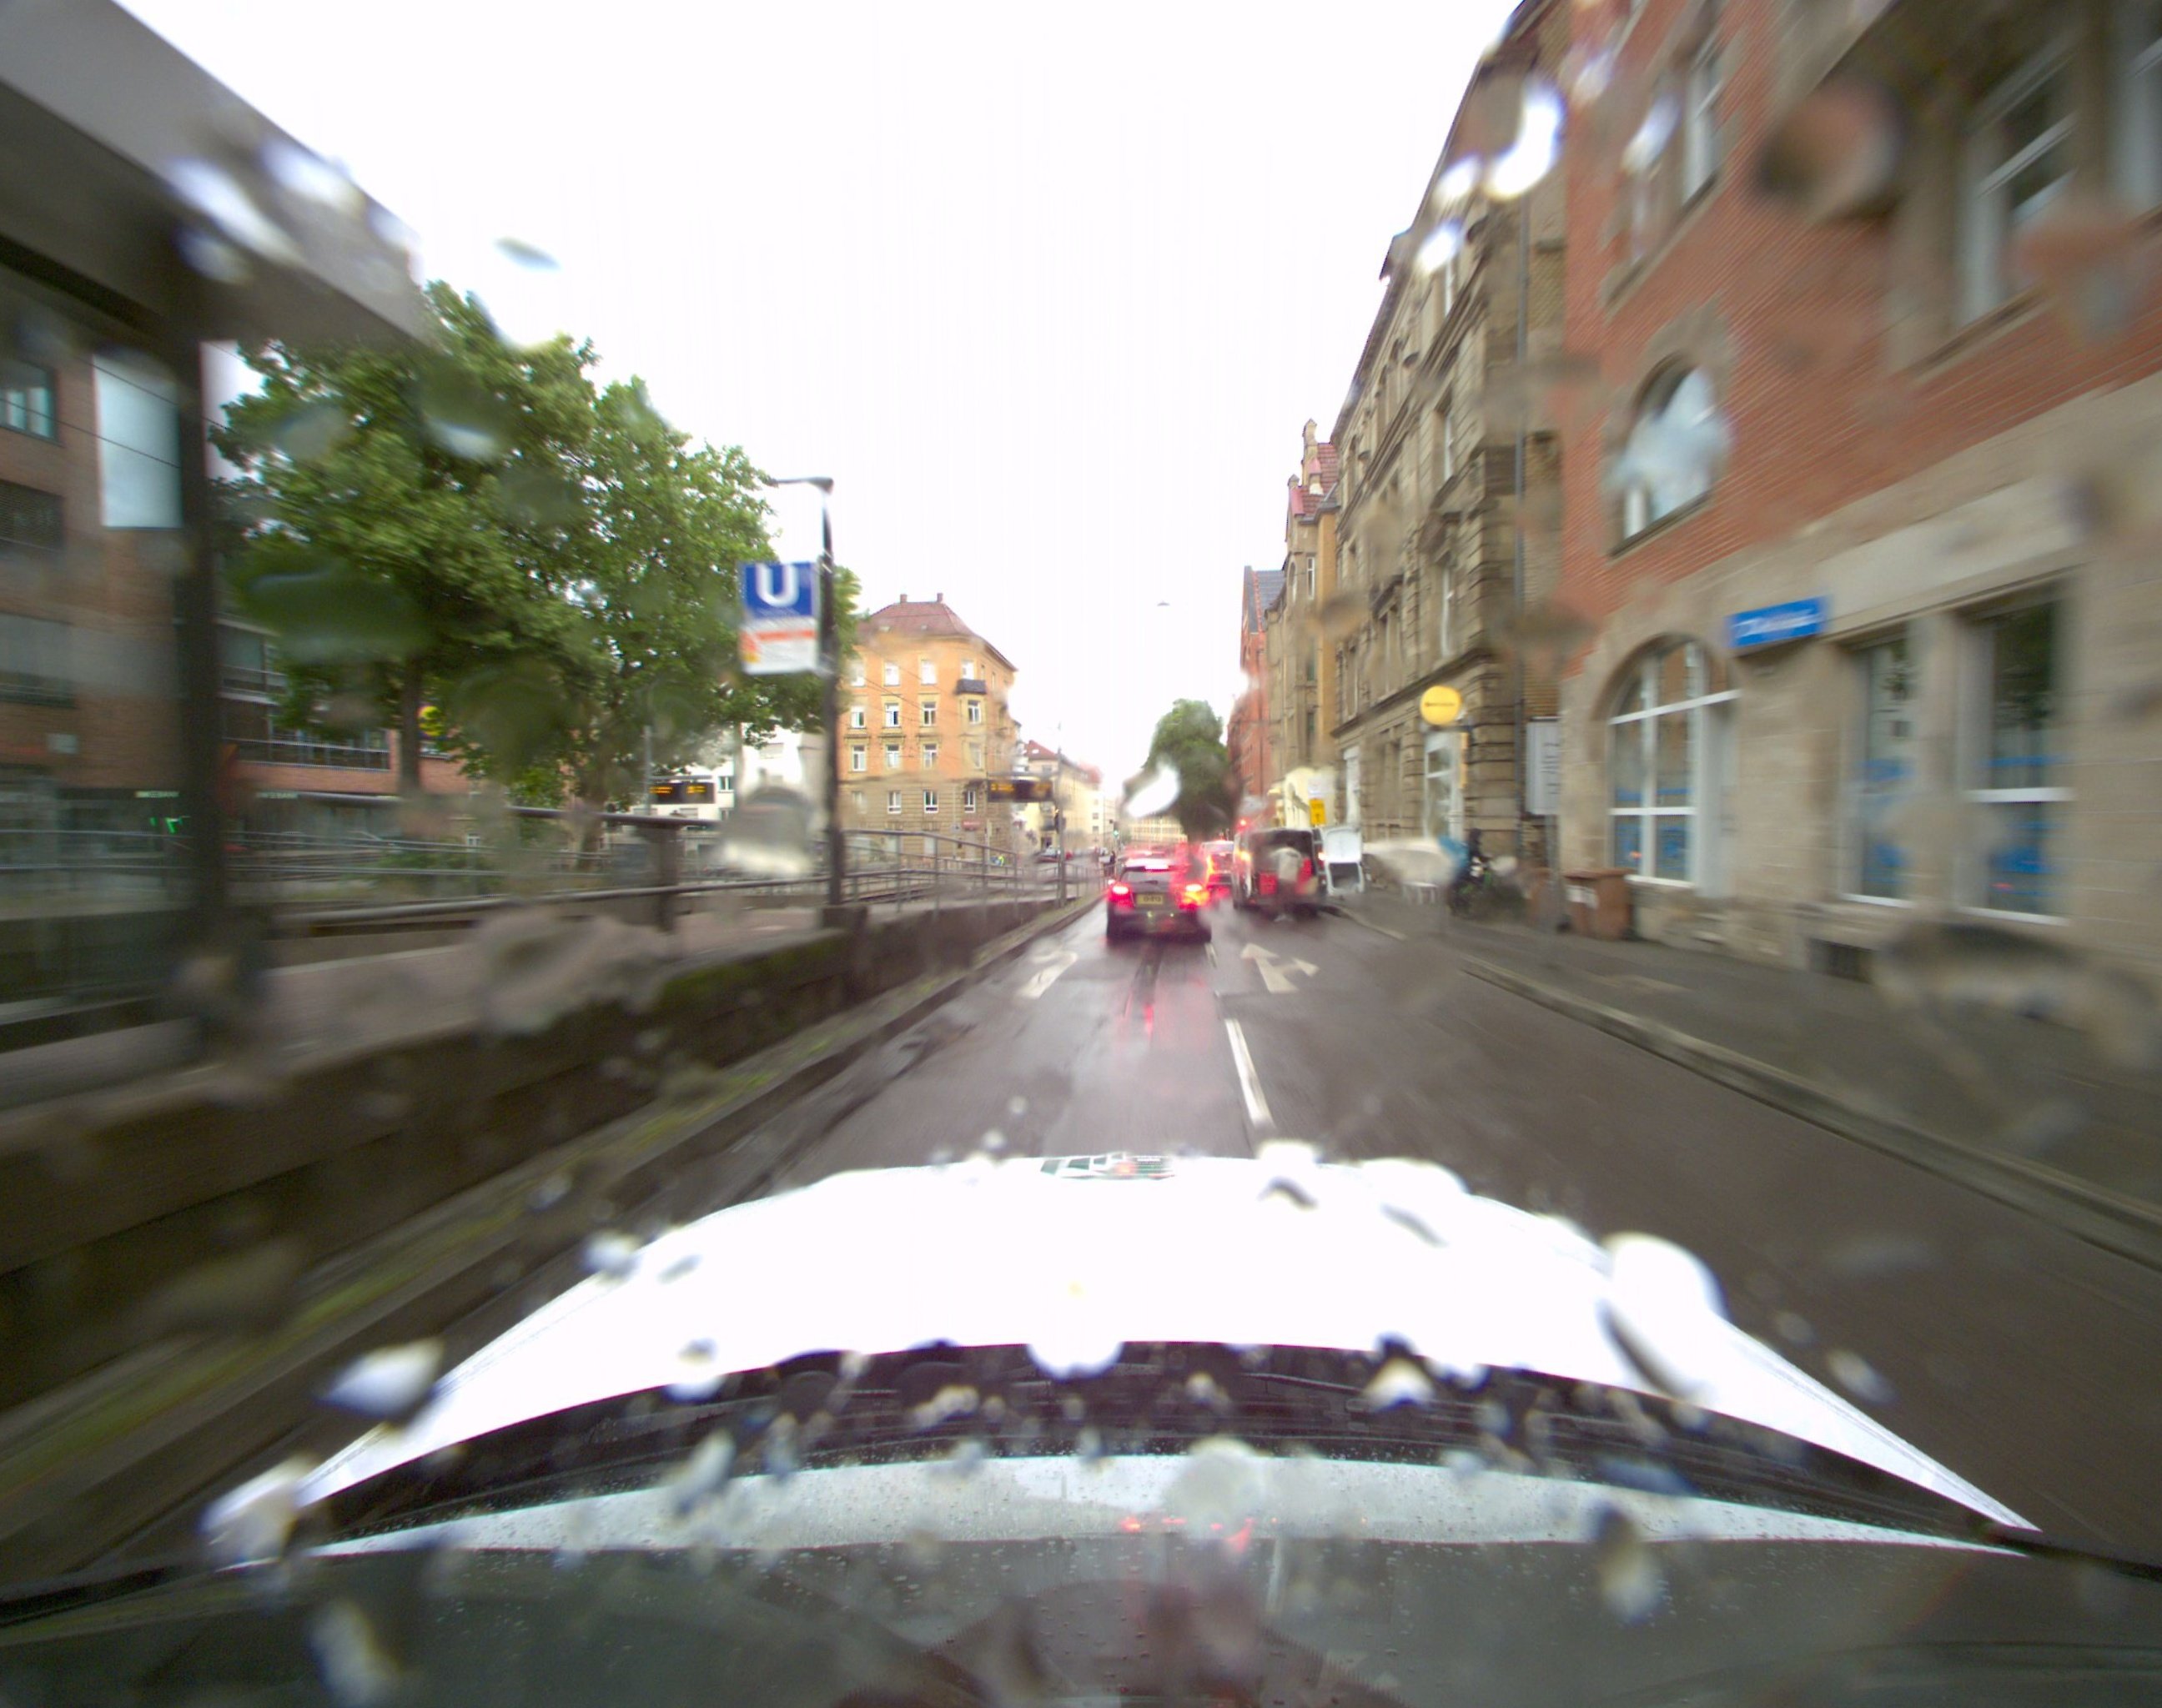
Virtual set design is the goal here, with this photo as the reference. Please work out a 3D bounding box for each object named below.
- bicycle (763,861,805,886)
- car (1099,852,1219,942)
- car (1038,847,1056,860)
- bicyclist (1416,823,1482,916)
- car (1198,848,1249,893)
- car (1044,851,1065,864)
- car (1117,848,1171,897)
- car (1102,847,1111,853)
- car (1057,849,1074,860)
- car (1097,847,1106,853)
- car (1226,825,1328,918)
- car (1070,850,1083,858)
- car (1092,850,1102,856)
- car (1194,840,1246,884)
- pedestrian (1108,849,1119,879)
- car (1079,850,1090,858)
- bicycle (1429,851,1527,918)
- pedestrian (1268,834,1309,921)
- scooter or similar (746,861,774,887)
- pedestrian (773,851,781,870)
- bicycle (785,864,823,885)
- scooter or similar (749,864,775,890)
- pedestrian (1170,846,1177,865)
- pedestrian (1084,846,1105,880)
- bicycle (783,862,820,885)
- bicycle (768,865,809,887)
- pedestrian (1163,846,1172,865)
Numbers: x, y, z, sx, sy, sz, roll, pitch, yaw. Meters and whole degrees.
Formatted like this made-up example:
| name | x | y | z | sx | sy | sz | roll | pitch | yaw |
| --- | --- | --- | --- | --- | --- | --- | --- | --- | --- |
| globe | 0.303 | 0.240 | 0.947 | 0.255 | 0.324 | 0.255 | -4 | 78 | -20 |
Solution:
| name | x | y | z | sx | sy | sz | roll | pitch | yaw |
| --- | --- | --- | --- | --- | --- | --- | --- | --- | --- |
| bicycle | -14.933 | 0.975 | 40.932 | 1.867 | 1.195 | 0.517 | -1 | 0 | -4 |
| car | 1.527 | 0.697 | 15.075 | 1.884 | 1.390 | 4.009 | -1 | 0 | 8 |
| car | -3.796 | -0.069 | 91.468 | 1.444 | 1.318 | 3.301 | 0 | 1 | 6 |
| bicyclist | 6.824 | 0.283 | 15.124 | 0.849 | 1.657 | 0.628 | -2 | 0 | -16 |
| car | 5.270 | 0.550 | 29.789 | 1.702 | 1.469 | 4.295 | -1 | 0 | 11 |
| car | -3.173 | 0.414 | 98.073 | 1.776 | 1.530 | 4.472 | -1 | 0 | 7 |
| car | 2.183 | 0.570 | 27.767 | 1.672 | 1.489 | 3.618 | -2 | 0 | 5 |
| car | 5.326 | -0.760 | 169.748 | 1.387 | 1.171 | 3.168 | -1 | 0 | 7 |
| car | -1.977 | -0.004 | 104.761 | 1.671 | 1.356 | 3.711 | -1 | 0 | 7 |
| car | 3.953 | -0.758 | 157.234 | 1.387 | 1.171 | 3.168 | -1 | 0 | 7 |
| car | 4.554 | 0.354 | 19.522 | 1.910 | 1.936 | 4.696 | -1 | 0 | 8 |
| car | -0.618 | 0.012 | 117.166 | 1.429 | 1.106 | 3.168 | -1 | 0 | 7 |
| car | 2.912 | -0.194 | 147.943 | 1.387 | 1.171 | 3.168 | -1 | 0 | 7 |
| car | 6.219 | 0.309 | 36.933 | 1.924 | 1.831 | 4.286 | -1 | 1 | 4 |
| pedestrian | 1.672 | 0.527 | 41.775 | 0.530 | 1.530 | 0.436 | -1 | 0 | -1 |
| car | 0.545 | -0.044 | 130.291 | 1.387 | 1.171 | 3.168 | -1 | 0 | 7 |
| bicycle | 7.210 | 0.542 | 14.793 | 1.687 | 1.115 | 0.462 | -2 | 0 | -17 |
| pedestrian | 4.334 | 0.486 | 17.056 | 0.681 | 1.753 | 0.838 | -2 | 0 | 8 |
| scooter or similar | -15.535 | 0.959 | 39.428 | 1.259 | 1.195 | 0.296 | -1 | 0 | -44 |
| pedestrian | -26.110 | 0.520 | 70.015 | 0.520 | 1.622 | 0.481 | -1 | 0 | -33 |
| bicycle | -15.221 | 1.121 | 44.759 | 1.867 | 1.065 | 0.517 | -1 | 0 | -4 |
| scooter or similar | -15.248 | 1.092 | 38.933 | 1.118 | 1.195 | 0.357 | -1 | 0 | -44 |
| pedestrian | 8.001 | 0.115 | 70.564 | 0.515 | 1.666 | 0.478 | 0 | 1 | 10 |
| pedestrian | 0.696 | 0.452 | 41.983 | 0.744 | 1.724 | 0.733 | -1 | 0 | -36 |
| bicycle | -15.125 | 1.052 | 44.054 | 1.763 | 1.142 | 0.517 | -1 | 0 | -4 |
| bicycle | -15.068 | 1.111 | 41.958 | 1.867 | 1.061 | 0.517 | -1 | 0 | -5 |
| pedestrian | 7.391 | 0.133 | 69.640 | 0.674 | 1.661 | 0.678 | -2 | 0 | 13 |
